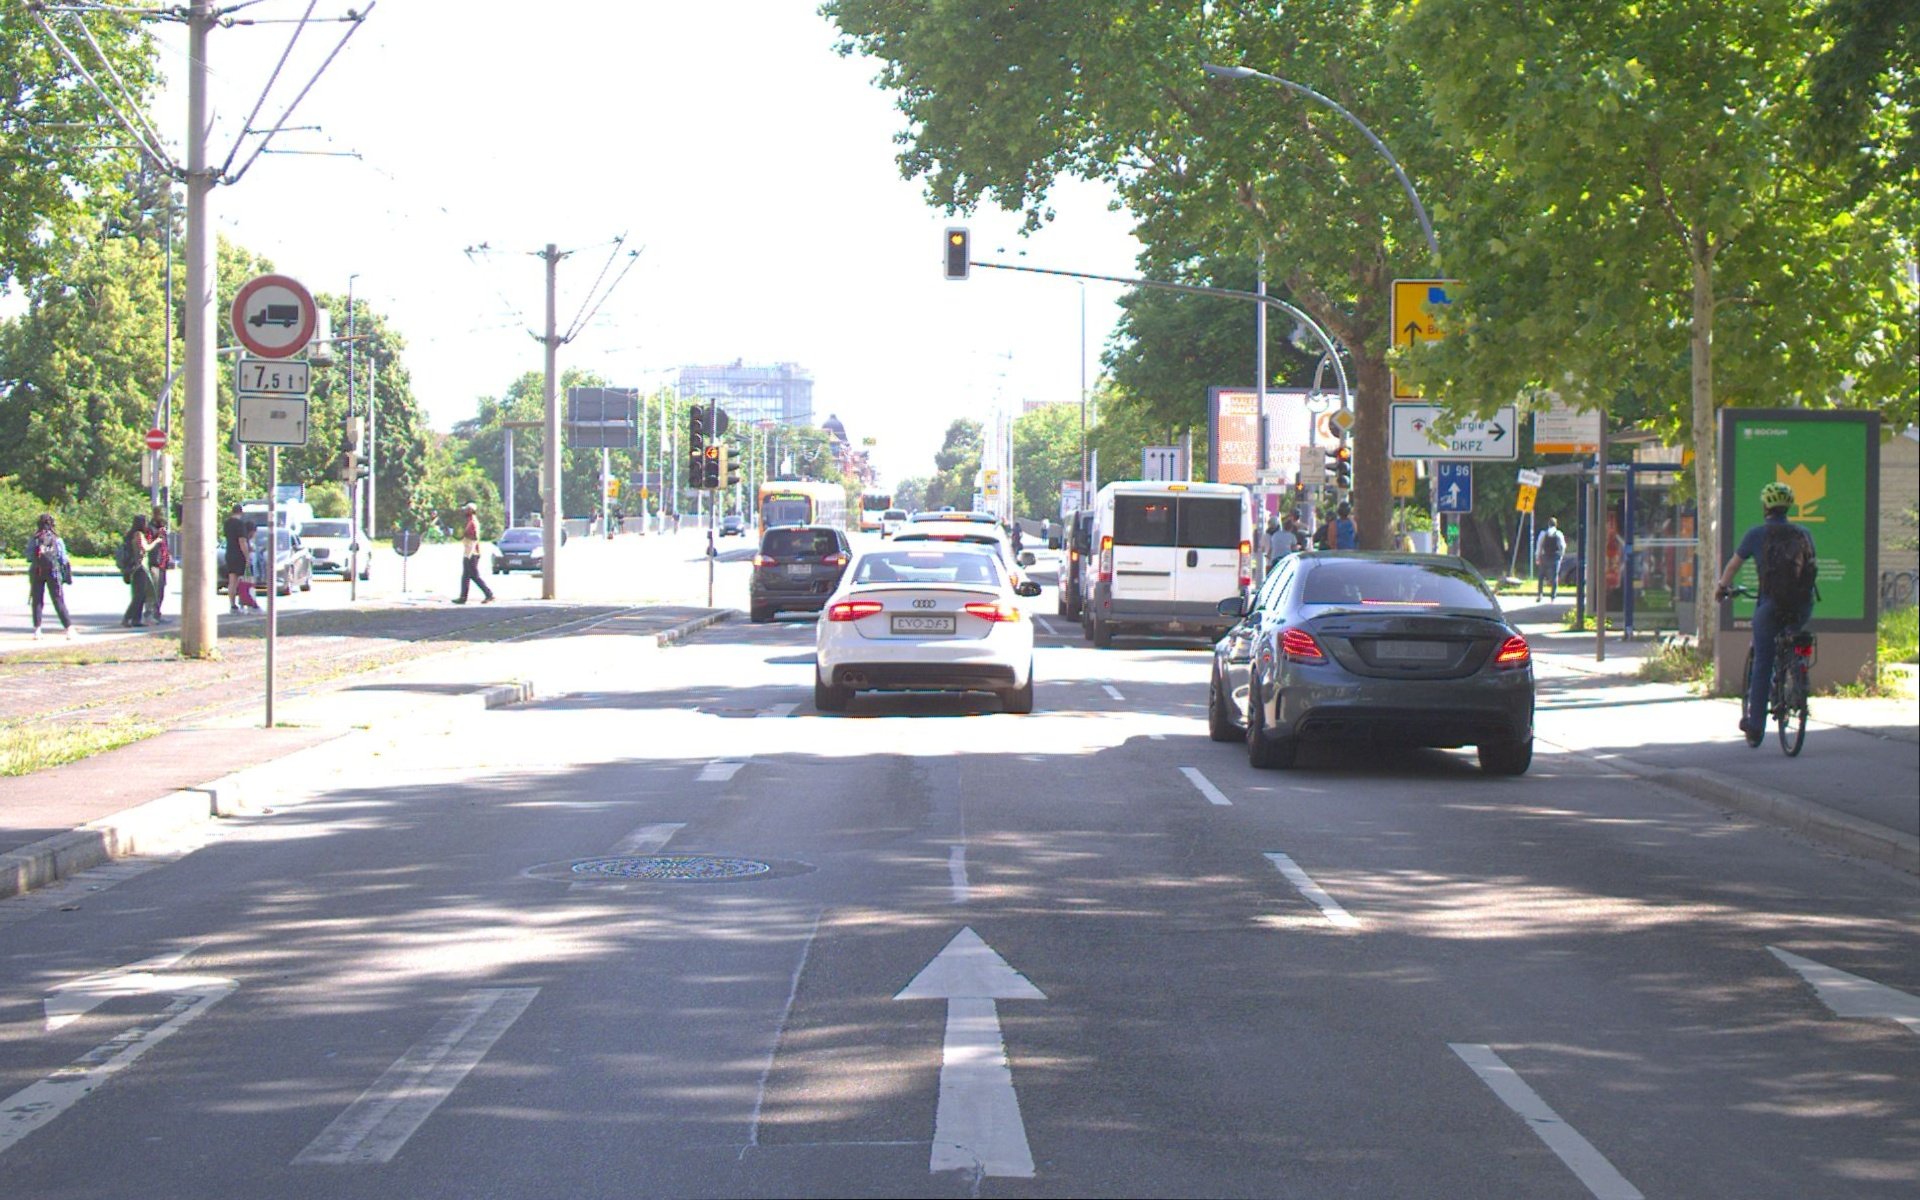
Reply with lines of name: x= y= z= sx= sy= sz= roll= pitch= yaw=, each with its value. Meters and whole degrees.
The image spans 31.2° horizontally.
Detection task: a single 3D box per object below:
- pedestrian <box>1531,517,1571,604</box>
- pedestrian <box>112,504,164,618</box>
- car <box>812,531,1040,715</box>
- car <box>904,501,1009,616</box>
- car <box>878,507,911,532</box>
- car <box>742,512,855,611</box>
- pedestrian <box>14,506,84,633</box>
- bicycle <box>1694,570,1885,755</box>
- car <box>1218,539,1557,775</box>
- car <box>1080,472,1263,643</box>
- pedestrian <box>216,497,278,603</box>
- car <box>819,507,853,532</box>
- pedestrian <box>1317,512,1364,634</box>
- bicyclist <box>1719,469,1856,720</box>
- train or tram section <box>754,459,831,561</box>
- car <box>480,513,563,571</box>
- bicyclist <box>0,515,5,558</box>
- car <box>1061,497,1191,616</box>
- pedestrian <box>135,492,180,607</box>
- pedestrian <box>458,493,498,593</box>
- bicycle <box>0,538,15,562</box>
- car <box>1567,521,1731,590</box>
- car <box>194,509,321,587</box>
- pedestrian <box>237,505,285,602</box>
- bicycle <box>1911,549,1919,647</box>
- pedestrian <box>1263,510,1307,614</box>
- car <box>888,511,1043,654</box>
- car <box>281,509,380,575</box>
pedestrian: x=12.326 y=-0.827 z=71.721 sx=0.778 sy=1.782 sz=0.764 roll=1 pitch=1 yaw=8
pedestrian: x=-11.930 y=-0.565 z=49.885 sx=0.593 sy=1.641 sz=0.554 roll=1 pitch=1 yaw=1
car: x=-0.263 y=0.142 z=29.219 sx=1.784 sy=1.416 sz=3.885 roll=1 pitch=1 yaw=0
car: x=-0.045 y=-0.745 z=59.779 sx=1.729 sy=1.895 sz=4.000 roll=1 pitch=1 yaw=0
car: x=-4.338 y=-5.301 z=227.903 sx=1.871 sy=1.603 sz=4.000 roll=1 pitch=1 yaw=2
car: x=-2.771 y=-0.689 z=59.734 sx=1.729 sy=1.625 sz=4.000 roll=1 pitch=1 yaw=0
pedestrian: x=-11.730 y=-0.397 z=44.260 sx=0.757 sy=1.617 sz=0.595 roll=1 pitch=1 yaw=-25
bicycle: x=5.596 y=0.395 z=23.312 sx=0.714 sy=1.144 sz=2.178 roll=-2 pitch=1 yaw=-1
car: x=2.802 y=0.320 z=23.341 sx=1.782 sy=1.415 sz=4.000 roll=1 pitch=1 yaw=0
car: x=2.851 y=-0.607 z=47.234 sx=2.230 sy=2.204 sz=4.162 roll=1 pitch=1 yaw=0
pedestrian: x=-11.779 y=-0.834 z=56.812 sx=0.775 sy=1.728 sz=0.754 roll=1 pitch=1 yaw=9
car: x=-8.204 y=-5.364 z=227.954 sx=1.871 sy=1.603 sz=4.000 roll=1 pitch=1 yaw=2
pedestrian: x=6.128 y=-0.442 z=55.420 sx=0.635 sy=1.939 sz=0.719 roll=1 pitch=1 yaw=1
bicyclist: x=5.583 y=-0.046 z=23.238 sx=0.634 sy=1.642 sz=0.979 roll=-2 pitch=1 yaw=-1
train or tram section: x=-6.797 y=-3.640 z=140.339 sx=2.617 sy=4.001 sz=7.749 roll=1 pitch=1 yaw=1
car: x=-13.551 y=-1.804 z=106.396 sx=1.993 sy=1.728 sz=4.000 roll=1 pitch=1 yaw=1
bicyclist: x=-28.817 y=-1.904 z=102.424 sx=0.474 sy=1.287 sz=0.496 roll=2 pitch=1 yaw=29
car: x=2.889 y=-0.789 z=60.739 sx=2.072 sy=1.992 sz=4.058 roll=1 pitch=1 yaw=0
pedestrian: x=-11.868 y=-0.748 z=50.841 sx=0.492 sy=1.673 sz=0.643 roll=1 pitch=1 yaw=1
pedestrian: x=-9.351 y=-1.110 z=66.717 sx=0.624 sy=1.911 sz=0.690 roll=1 pitch=1 yaw=1
bicycle: x=-28.902 y=-1.488 z=102.307 sx=0.492 sy=0.728 sz=1.619 roll=2 pitch=1 yaw=29
car: x=17.427 y=-1.139 z=87.110 sx=3.777 sy=1.666 sz=1.793 roll=1 pitch=1 yaw=1
car: x=-15.187 y=-1.146 z=74.502 sx=1.871 sy=1.603 sz=4.000 roll=1 pitch=1 yaw=1
pedestrian: x=-11.696 y=-0.780 z=57.516 sx=0.537 sy=1.592 sz=0.577 roll=2 pitch=1 yaw=19
bicycle: x=11.775 y=-0.012 z=41.246 sx=0.389 sy=1.176 sz=1.173 roll=1 pitch=1 yaw=1
pedestrian: x=5.370 y=-0.638 z=56.852 sx=0.602 sy=1.689 sz=0.953 roll=-1 pitch=1 yaw=0
car: x=0.067 y=-0.240 z=41.041 sx=1.729 sy=1.599 sz=3.885 roll=1 pitch=1 yaw=0
car: x=-16.124 y=-1.497 z=88.193 sx=1.764 sy=1.603 sz=3.860 roll=1 pitch=1 yaw=1
